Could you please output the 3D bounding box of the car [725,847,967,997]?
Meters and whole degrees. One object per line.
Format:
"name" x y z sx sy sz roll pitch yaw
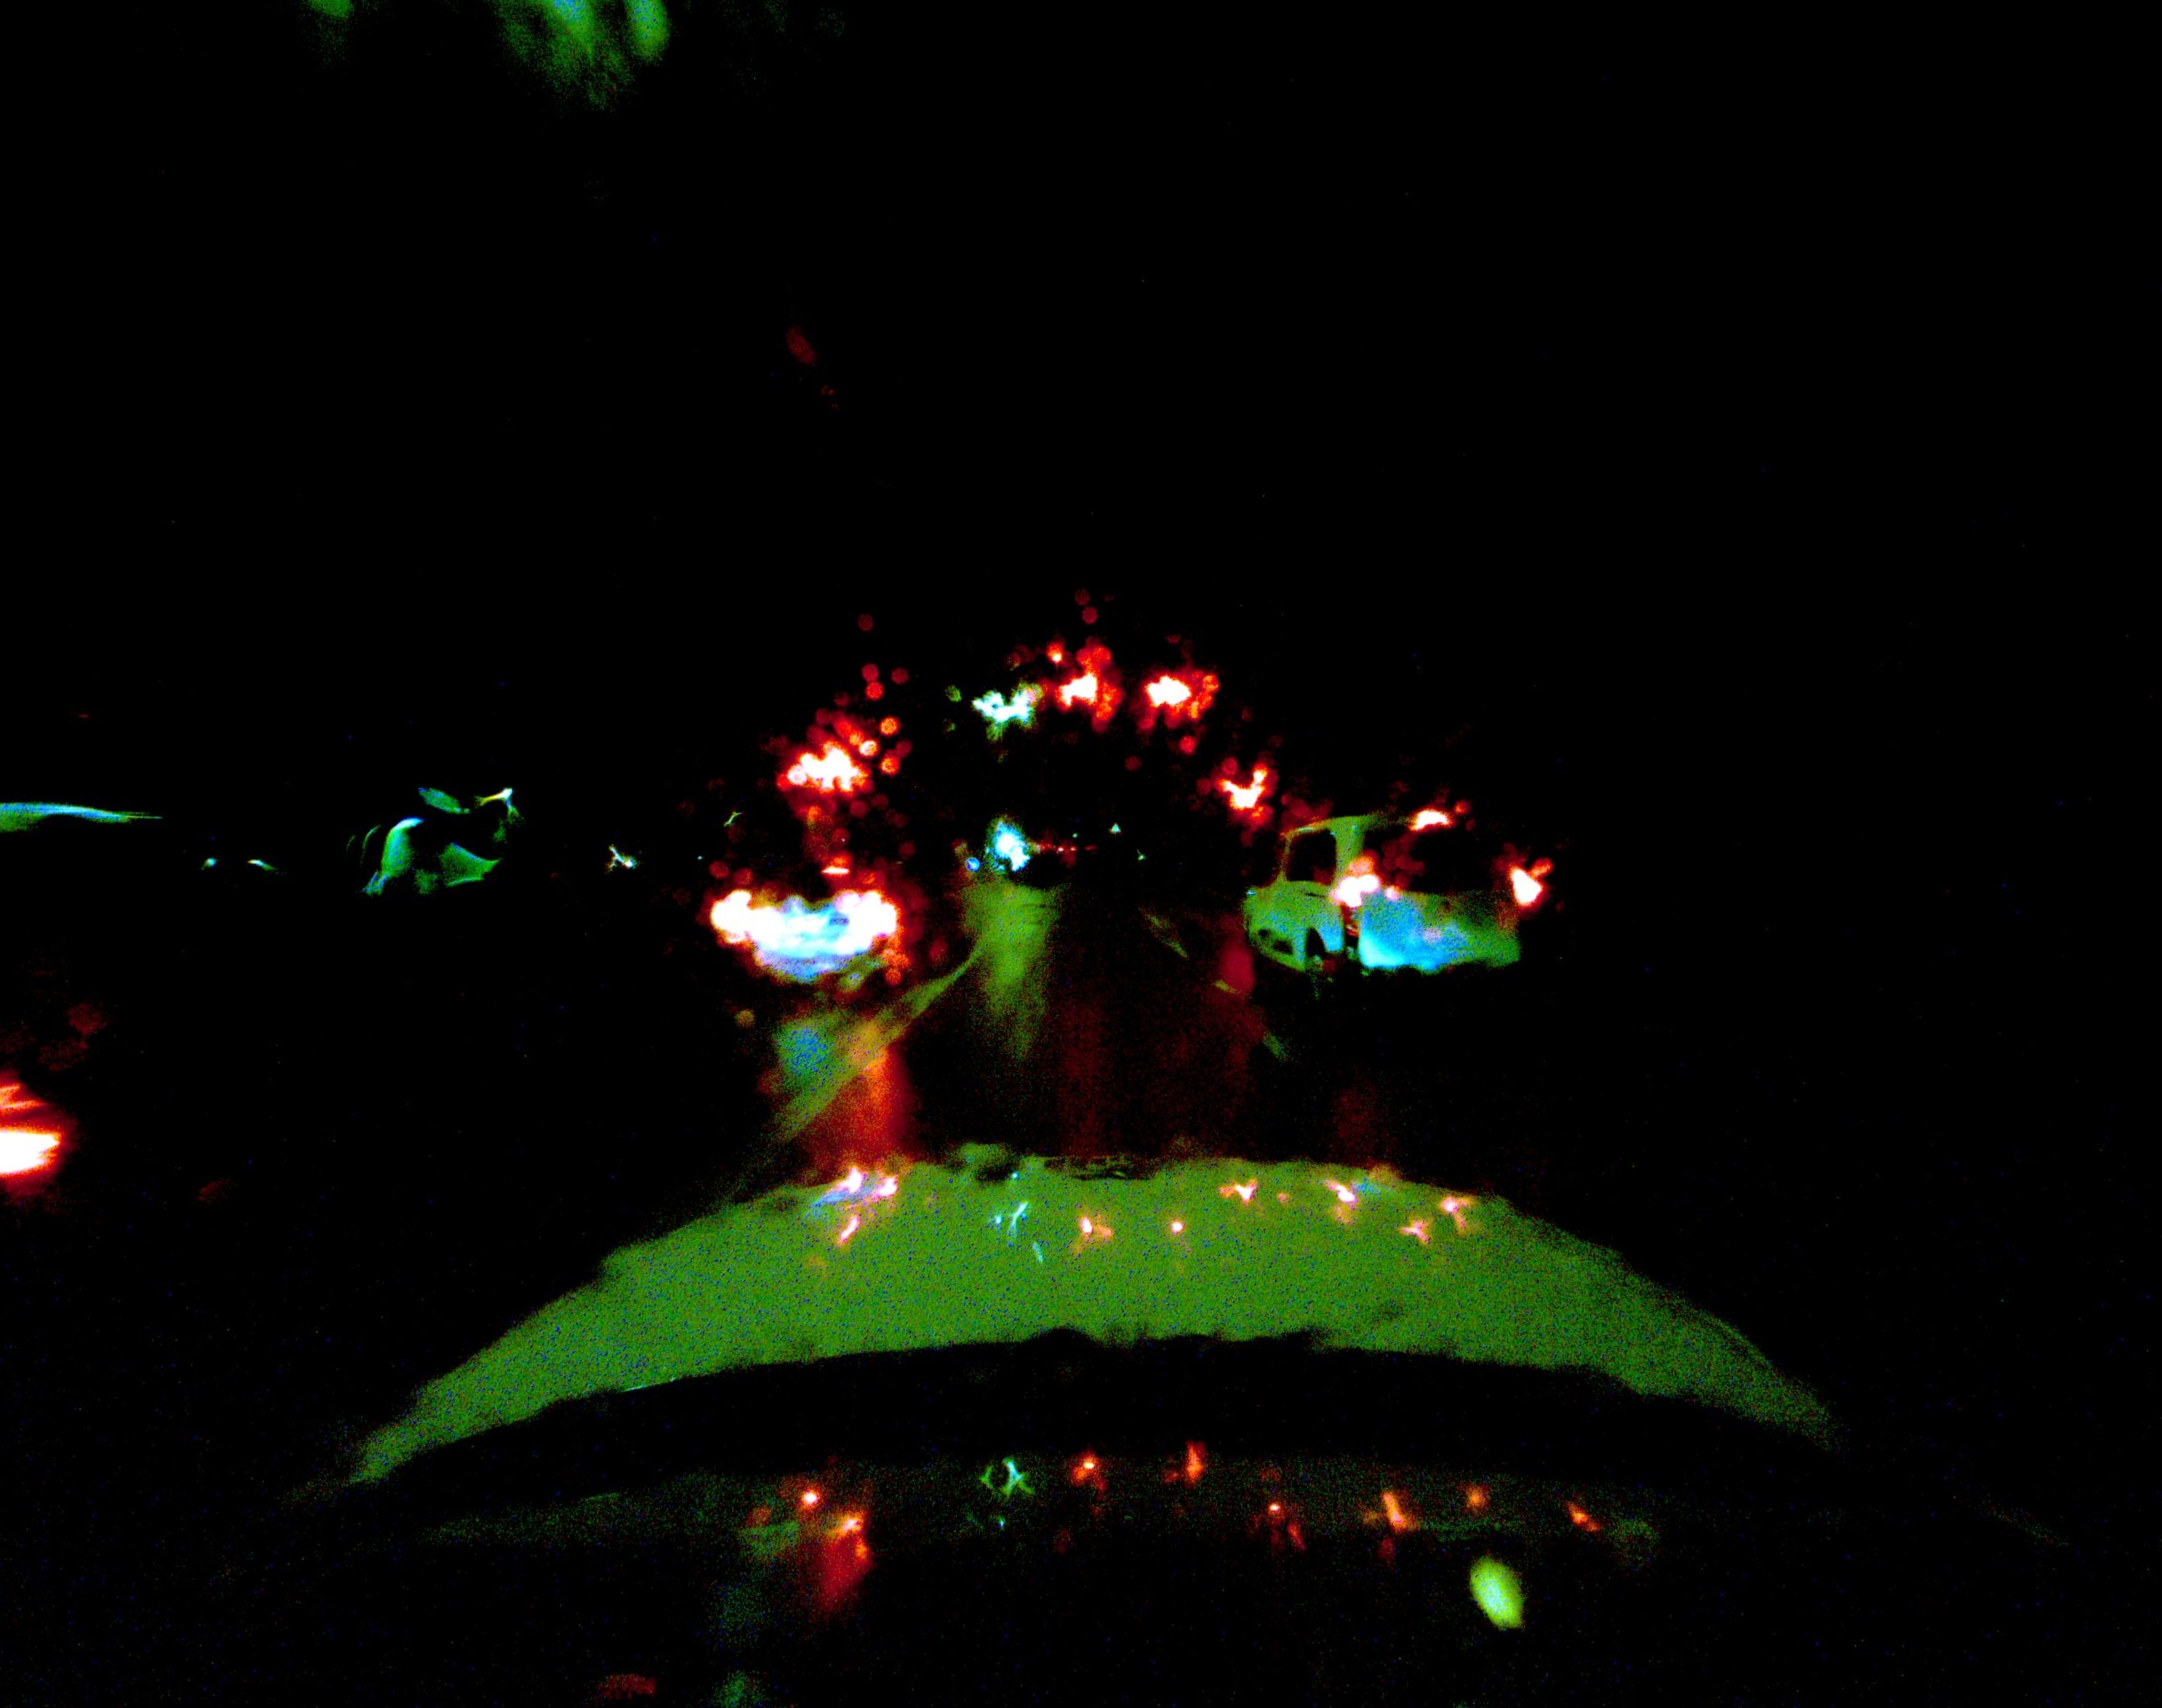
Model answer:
"car" -2.776 0.705 10.755 1.777 1.511 4.437 -2 0 1

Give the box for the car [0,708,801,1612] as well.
"car" -2.969 0.600 3.614 1.777 1.782 4.438 -1 0 2

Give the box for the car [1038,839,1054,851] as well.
"car" -5.582 -1.476 129.492 1.984 1.717 4.005 3 -1 5

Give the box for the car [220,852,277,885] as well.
"car" -41.496 0.699 40.670 1.524 1.518 4.323 1 -1 -40

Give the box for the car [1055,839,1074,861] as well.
"car" -1.622 -0.409 79.801 1.787 2.022 4.575 -1 0 -3

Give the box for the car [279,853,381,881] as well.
"car" -43.034 0.689 46.766 1.710 1.519 4.014 0 0 12

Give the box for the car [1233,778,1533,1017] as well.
"car" 3.004 0.359 9.249 1.785 2.022 4.580 -1 0 1
